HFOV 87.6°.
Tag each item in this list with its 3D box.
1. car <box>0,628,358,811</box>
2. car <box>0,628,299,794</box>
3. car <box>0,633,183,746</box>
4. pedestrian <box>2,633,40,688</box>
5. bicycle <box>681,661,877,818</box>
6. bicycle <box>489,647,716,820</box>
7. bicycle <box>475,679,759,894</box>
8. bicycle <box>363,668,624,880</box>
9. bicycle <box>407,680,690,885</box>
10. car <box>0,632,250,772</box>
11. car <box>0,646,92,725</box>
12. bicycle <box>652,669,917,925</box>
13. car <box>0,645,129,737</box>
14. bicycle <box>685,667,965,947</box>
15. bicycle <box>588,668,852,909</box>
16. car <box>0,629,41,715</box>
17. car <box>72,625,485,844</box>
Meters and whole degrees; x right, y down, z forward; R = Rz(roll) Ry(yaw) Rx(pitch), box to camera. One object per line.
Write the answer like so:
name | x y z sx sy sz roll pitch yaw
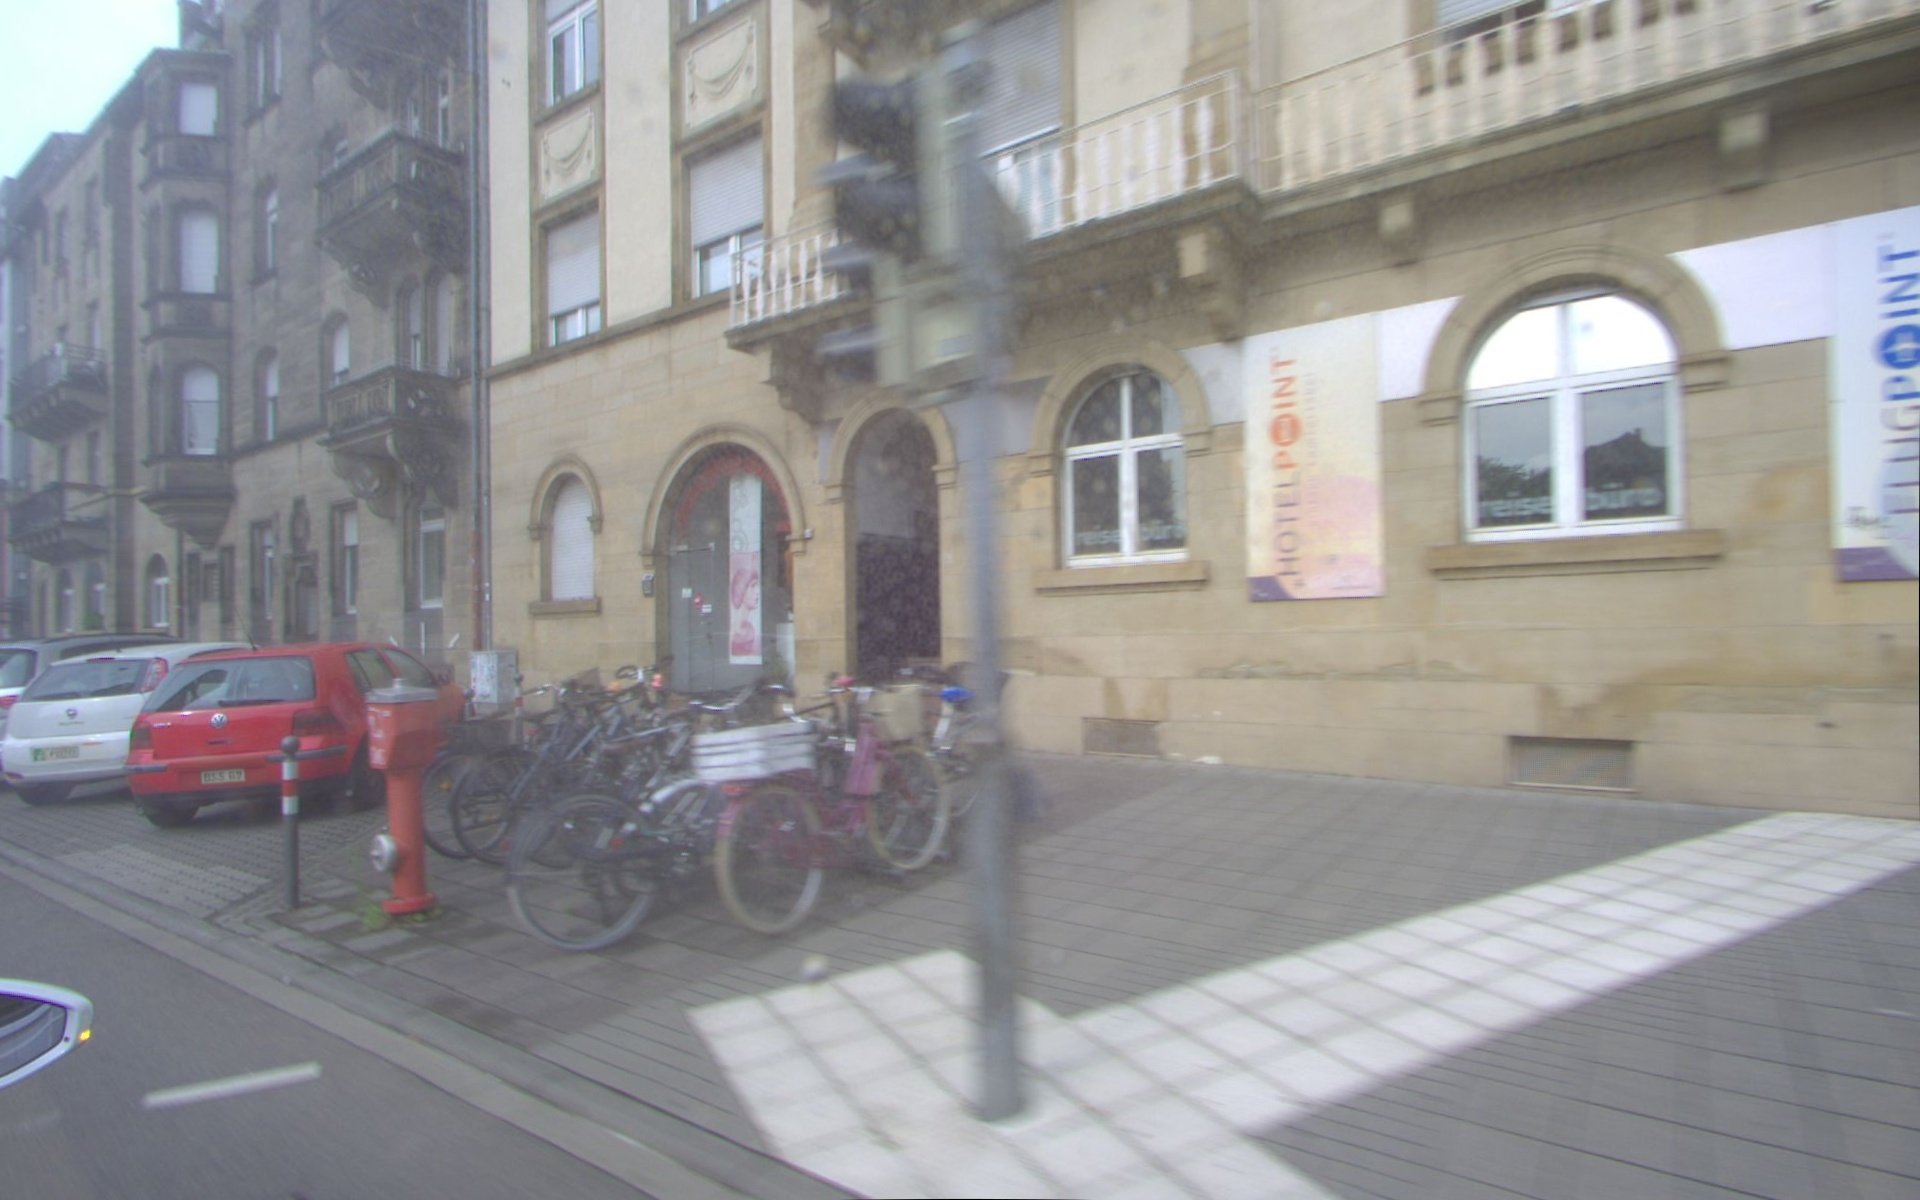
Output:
car | -8.576 1.162 11.067 1.814 1.528 3.587 -3 0 -5
car | -10.741 1.252 12.592 1.879 1.704 4.226 -2 -1 3
car | -15.499 1.433 16.671 1.713 1.595 4.464 -1 0 -2
pedestrian | -26.850 1.739 28.632 0.543 1.548 0.563 -1 -3 -6
bicycle | -1.449 1.101 8.324 0.470 1.052 1.727 -3 0 35
bicycle | -2.913 1.042 8.350 0.489 1.187 1.773 -3 0 35
bicycle | -2.122 1.108 6.421 0.470 1.052 1.727 -3 0 35
bicycle | -3.165 1.128 6.933 0.470 1.187 1.562 -3 0 35
bicycle | -2.687 1.144 6.730 0.470 1.052 1.727 -3 0 35
car | -13.223 1.409 14.859 1.899 1.707 4.753 -2 -1 0
car | -20.467 1.831 20.428 1.992 1.473 4.069 -2 1 -2
bicycle | -0.938 1.031 5.725 0.470 1.142 1.562 -3 0 35
car | -17.968 1.678 18.383 1.816 1.572 4.467 -1 -1 -2
bicycle | -0.642 0.988 5.288 0.470 1.142 1.562 -3 0 35
bicycle | -1.372 1.038 5.992 0.470 1.142 1.562 -3 0 35
car | -22.891 1.685 21.880 1.843 1.932 4.281 -1 0 -5
car | -6.073 1.067 9.538 1.761 1.581 3.833 -2 -1 -10
